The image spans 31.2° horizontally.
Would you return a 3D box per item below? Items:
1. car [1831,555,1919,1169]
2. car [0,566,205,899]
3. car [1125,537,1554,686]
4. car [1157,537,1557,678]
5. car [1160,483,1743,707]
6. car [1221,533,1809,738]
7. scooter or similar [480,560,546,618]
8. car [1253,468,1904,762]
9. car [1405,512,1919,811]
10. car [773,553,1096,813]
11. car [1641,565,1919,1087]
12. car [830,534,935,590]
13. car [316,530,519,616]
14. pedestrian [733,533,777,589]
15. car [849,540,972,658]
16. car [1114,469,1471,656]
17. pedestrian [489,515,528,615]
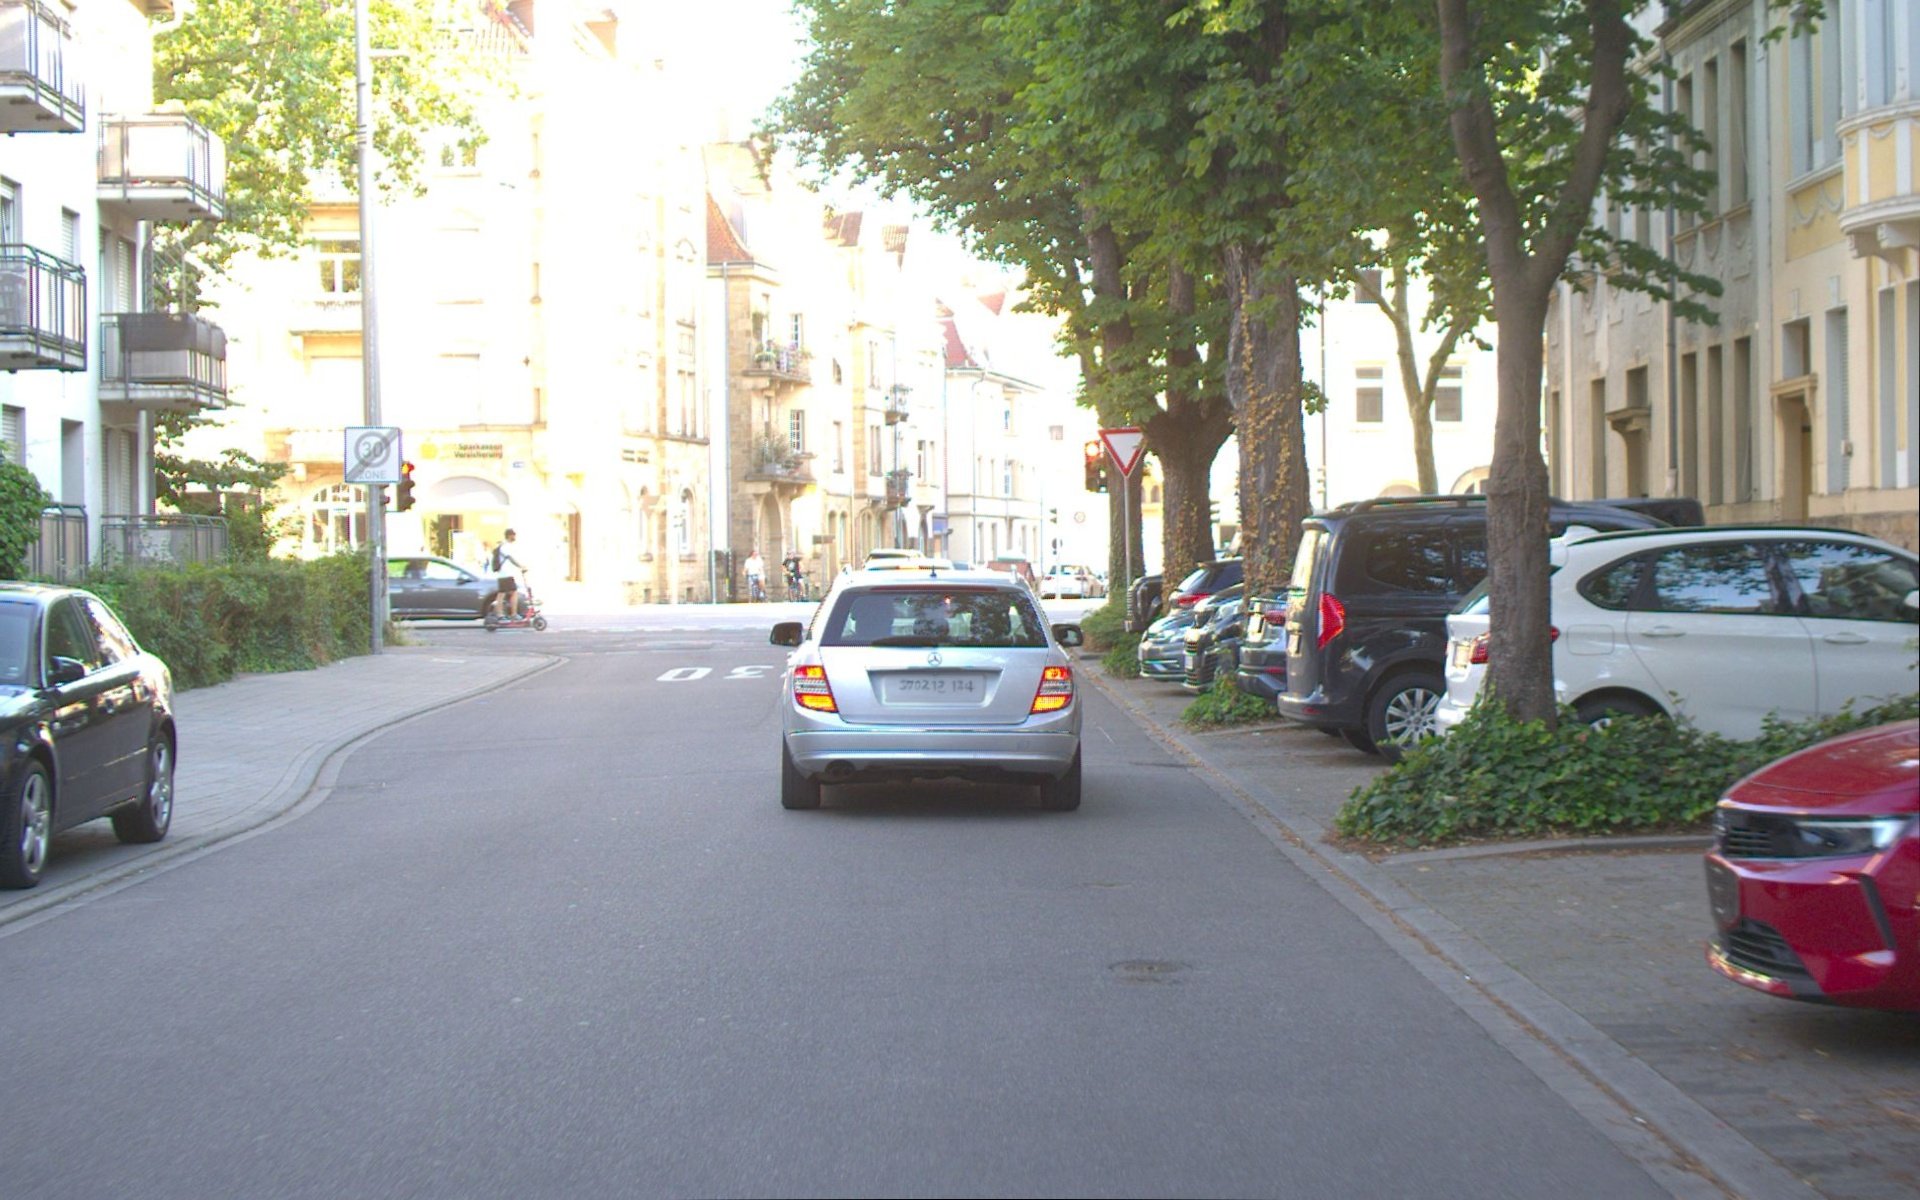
[{"bbox_3d":[4.367,0.556,8.010,4.190,1.470,1.851,-2,1,2],"label":"car"},{"bbox_3d":[-5.177,0.575,17.521,1.695,1.442,4.358,1,1,0],"label":"car"},{"bbox_3d":[4.009,0.102,36.791,4.287,1.412,1.877,-2,1,-2],"label":"car"},{"bbox_3d":[4.473,0.063,39.156,4.287,1.535,1.899,0,1,-2],"label":"car"},{"bbox_3d":[4.473,-0.073,31.859,5.053,1.982,2.072,0,1,-2],"label":"car"},{"bbox_3d":[4.302,0.250,27.108,4.287,1.535,1.877,0,1,-2],"label":"car"},{"bbox_3d":[-8.473,-0.208,65.130,1.175,1.048,0.409,-2,1,-4],"label":"scooter or similar"},{"bbox_3d":[4.344,0.087,24.602,4.219,1.890,1.906,-2,1,-2],"label":"car"},{"bbox_3d":[4.775,0.302,19.869,4.110,1.566,1.877,-2,1,0],"label":"car"},{"bbox_3d":[-0.131,0.448,21.084,1.784,1.432,3.851,1,0,0],"label":"car"},{"bbox_3d":[4.467,0.554,10.460,4.411,1.414,1.877,-2,1,2],"label":"car"},{"bbox_3d":[-2.259,-1.137,101.050,1.995,1.579,3.997,0,1,16],"label":"car"},{"bbox_3d":[-10.621,-0.549,67.485,3.887,1.637,1.754,0,1,-8],"label":"car"},{"bbox_3d":[-6.452,-1.233,108.156,1.221,1.716,1.503,1,1,3],"label":"pedestrian"},{"bbox_3d":[-0.662,-0.047,48.183,1.623,1.564,3.680,0,1,1],"label":"car"},{"bbox_3d":[4.279,-0.502,44.700,4.388,2.356,2.000,0,1,-2],"label":"car"},{"bbox_3d":[-8.546,-0.666,65.116,0.642,1.859,0.410,-2,1,-4],"label":"pedestrian"}]
